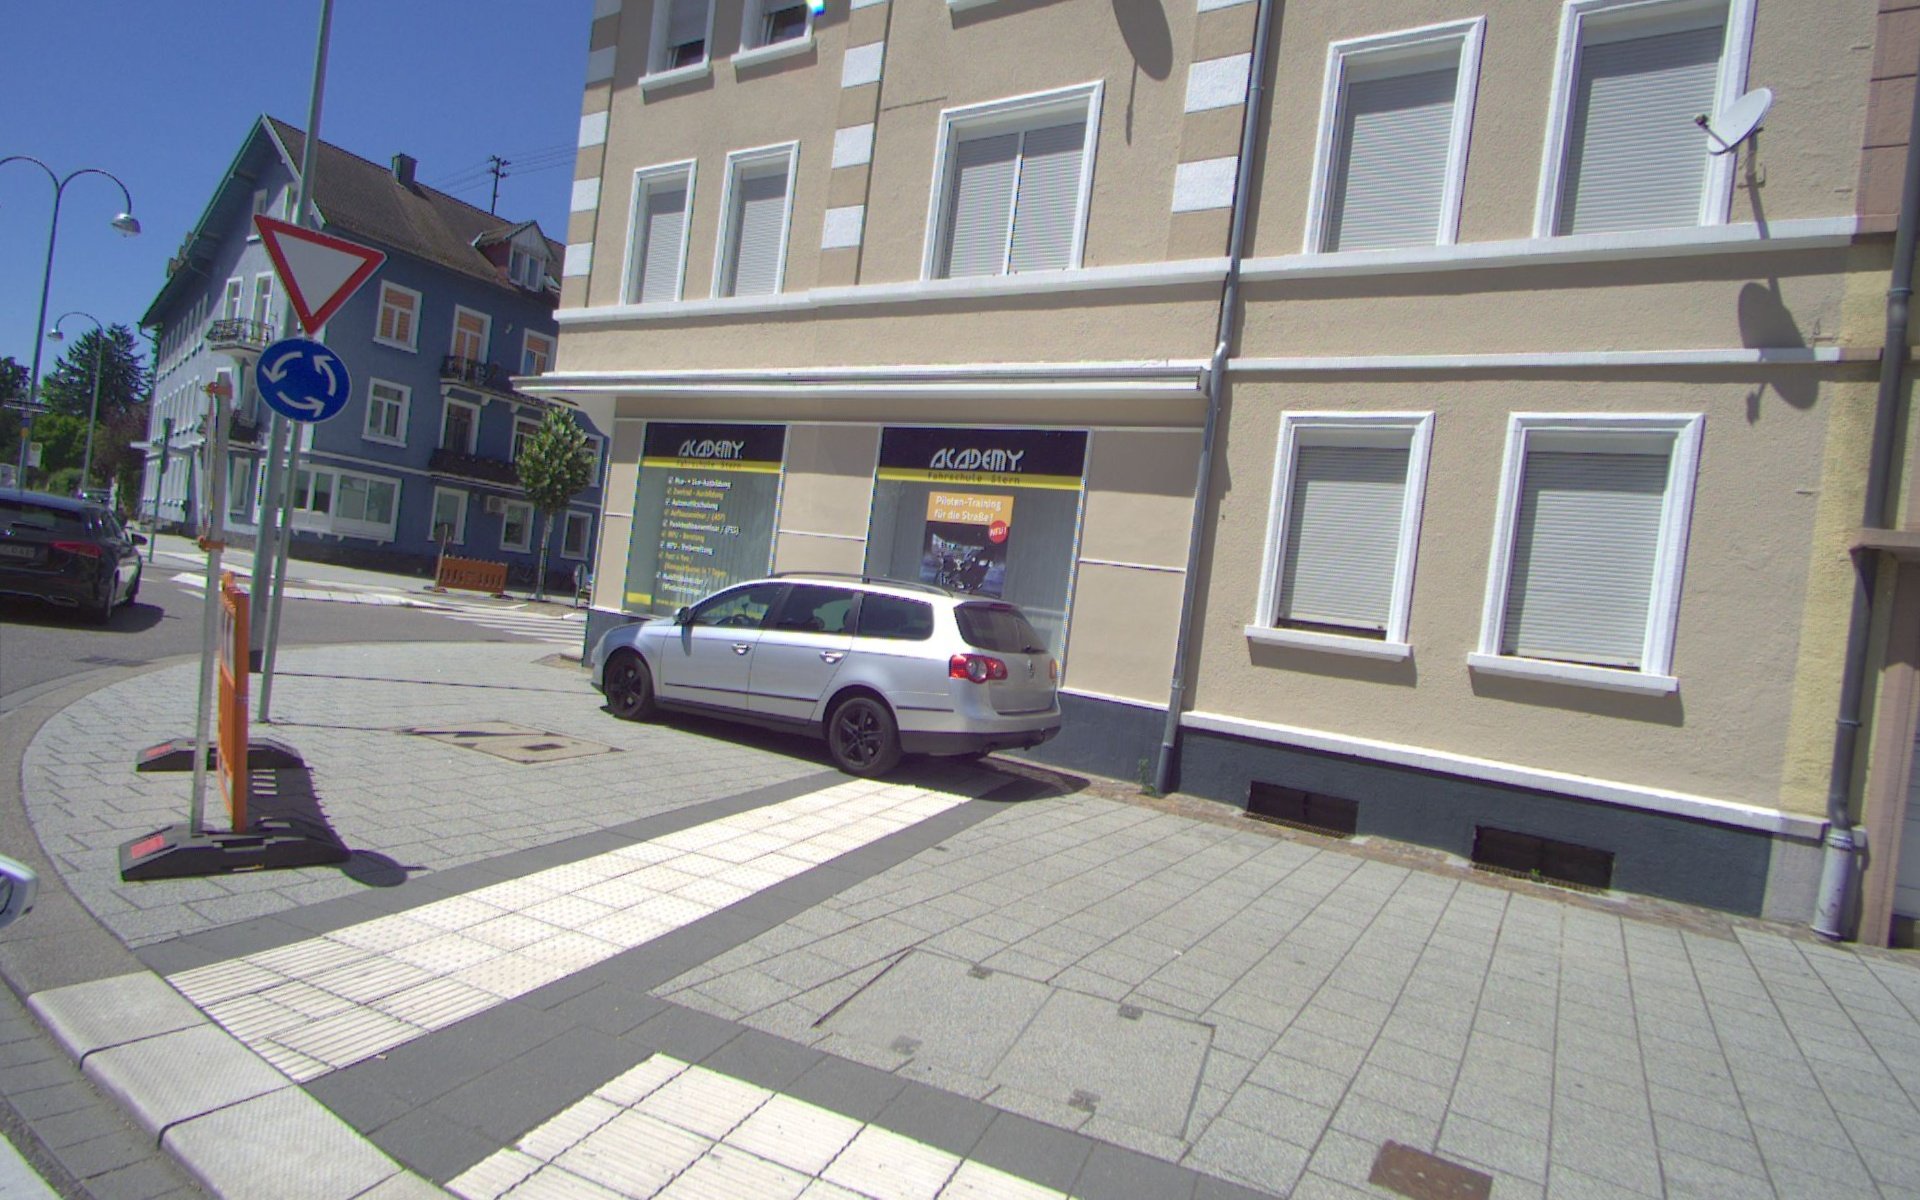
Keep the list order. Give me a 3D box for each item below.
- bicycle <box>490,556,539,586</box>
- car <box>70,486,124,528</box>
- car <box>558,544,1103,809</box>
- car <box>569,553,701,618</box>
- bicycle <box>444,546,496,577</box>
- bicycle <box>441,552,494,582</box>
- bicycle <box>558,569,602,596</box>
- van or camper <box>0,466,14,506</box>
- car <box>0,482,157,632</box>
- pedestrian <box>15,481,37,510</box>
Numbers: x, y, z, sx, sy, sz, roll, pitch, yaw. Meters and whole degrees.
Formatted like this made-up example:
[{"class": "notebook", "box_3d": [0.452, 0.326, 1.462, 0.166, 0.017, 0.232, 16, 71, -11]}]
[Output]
[{"class": "bicycle", "box_3d": [-17.860, -1.159, 40.344, 0.473, 0.918, 1.709, 10, 0, 34]}, {"class": "car", "box_3d": [-36.655, -3.960, 42.735, 1.632, 1.528, 3.521, 4, 3, -41]}, {"class": "car", "box_3d": [-1.275, 0.526, 8.989, 4.611, 1.549, 1.766, 7, 0, 31]}, {"class": "car", "box_3d": [-11.934, -0.494, 37.189, 1.876, 1.764, 4.240, 9, 0, 34]}, {"class": "bicycle", "box_3d": [-18.987, -1.485, 39.004, 0.433, 0.918, 1.709, 10, 0, 34]}, {"class": "bicycle", "box_3d": [-18.813, -1.258, 38.463, 0.433, 0.918, 1.709, 10, 0, 34]}, {"class": "bicycle", "box_3d": [-16.241, -0.754, 42.998, 0.473, 0.918, 1.709, 10, 0, 34]}, {"class": "van or camper", "box_3d": [-67.436, -8.063, 69.918, 2.200, 2.642, 3.950, 8, -1, -43]}, {"class": "car", "box_3d": [-11.491, -0.641, 12.447, 1.943, 1.443, 3.962, 10, -2, -34]}, {"class": "pedestrian", "box_3d": [-45.336, -5.060, 48.847, 0.662, 1.303, 0.581, 3, 3, -34]}]
